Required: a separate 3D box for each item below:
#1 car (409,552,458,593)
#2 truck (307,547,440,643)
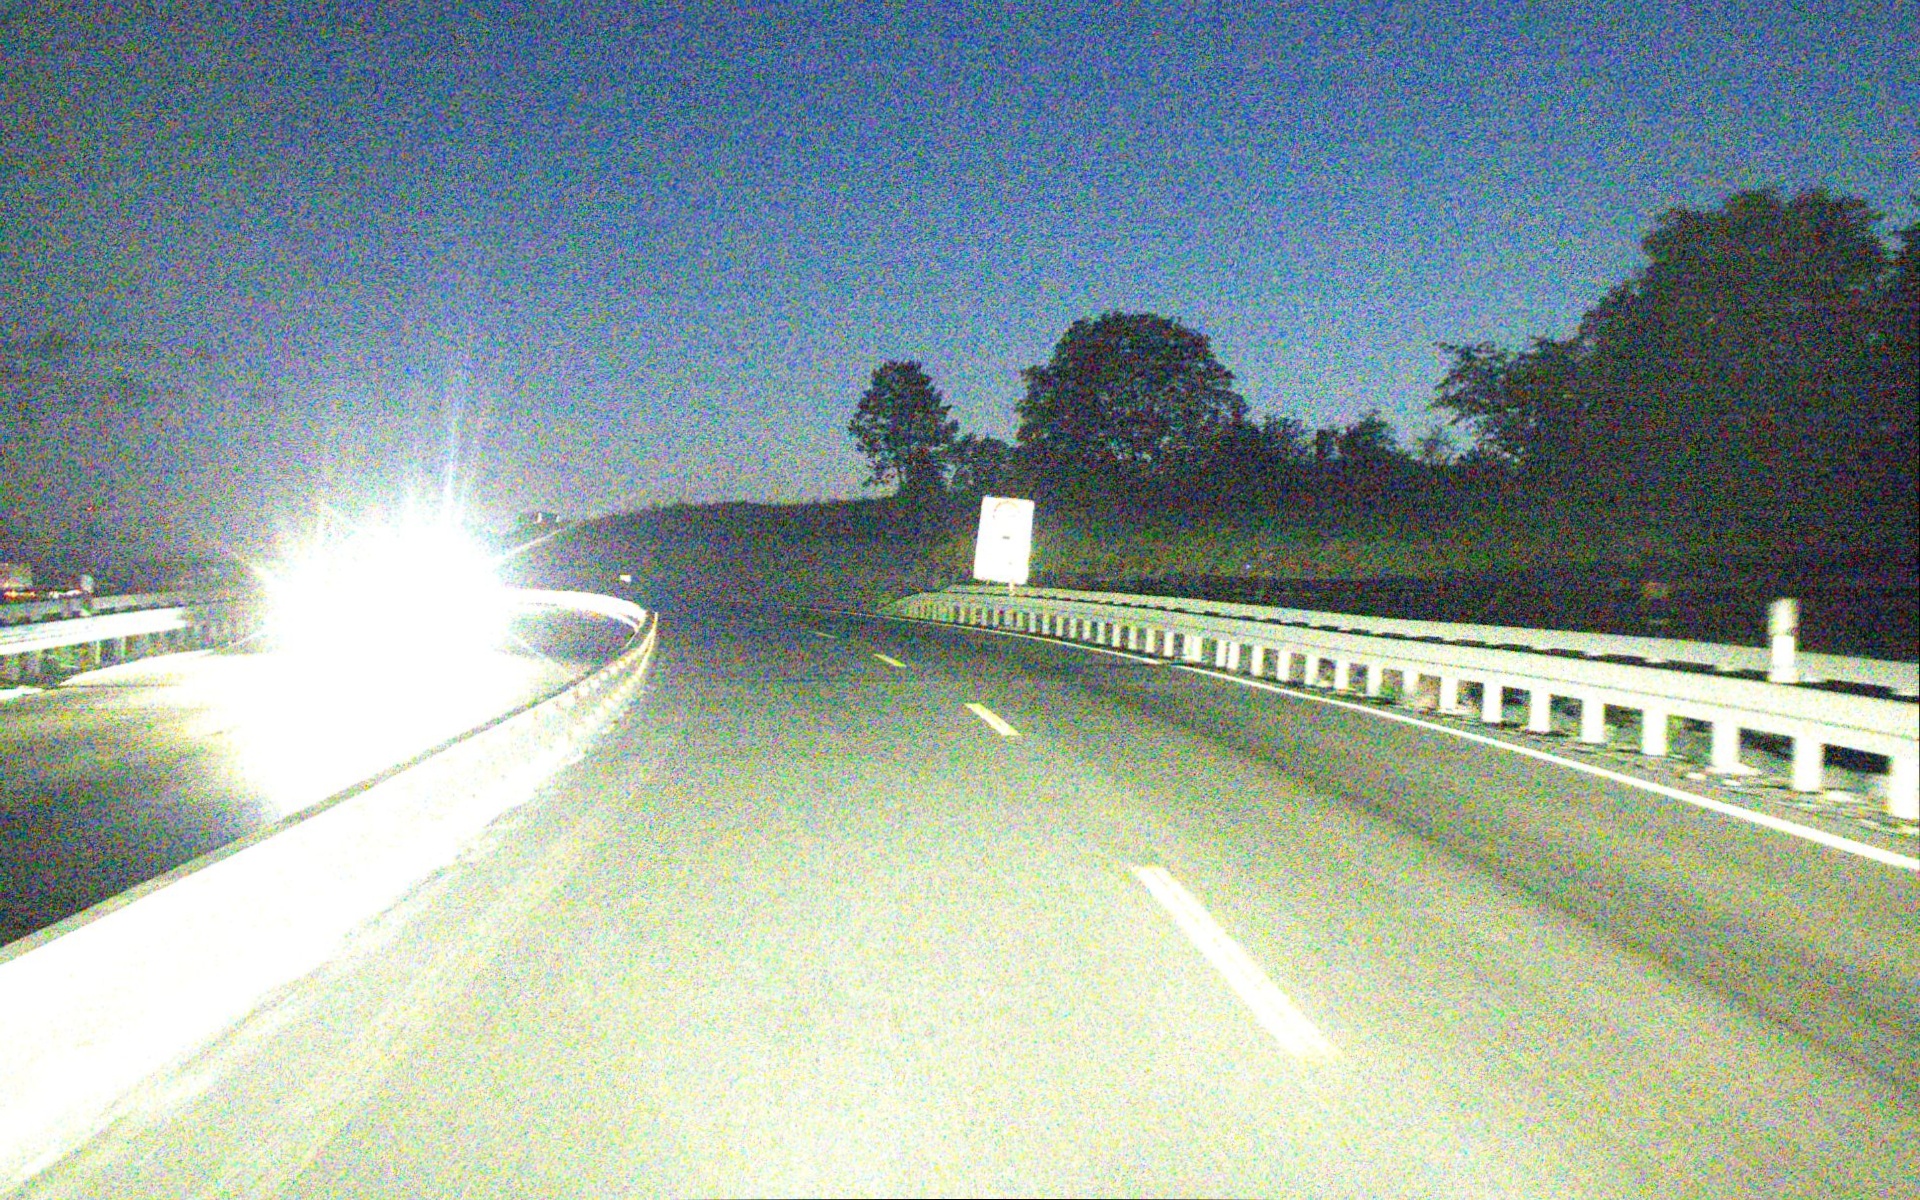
[{"bbox_3d":[-19.542,-0.992,127.641,1.712,1.438,4.488,-1,0,-8],"label":"car"},{"bbox_3d":[-9.326,-0.074,54.886,1.682,1.465,4.154,1,0,-4],"label":"truck"}]
